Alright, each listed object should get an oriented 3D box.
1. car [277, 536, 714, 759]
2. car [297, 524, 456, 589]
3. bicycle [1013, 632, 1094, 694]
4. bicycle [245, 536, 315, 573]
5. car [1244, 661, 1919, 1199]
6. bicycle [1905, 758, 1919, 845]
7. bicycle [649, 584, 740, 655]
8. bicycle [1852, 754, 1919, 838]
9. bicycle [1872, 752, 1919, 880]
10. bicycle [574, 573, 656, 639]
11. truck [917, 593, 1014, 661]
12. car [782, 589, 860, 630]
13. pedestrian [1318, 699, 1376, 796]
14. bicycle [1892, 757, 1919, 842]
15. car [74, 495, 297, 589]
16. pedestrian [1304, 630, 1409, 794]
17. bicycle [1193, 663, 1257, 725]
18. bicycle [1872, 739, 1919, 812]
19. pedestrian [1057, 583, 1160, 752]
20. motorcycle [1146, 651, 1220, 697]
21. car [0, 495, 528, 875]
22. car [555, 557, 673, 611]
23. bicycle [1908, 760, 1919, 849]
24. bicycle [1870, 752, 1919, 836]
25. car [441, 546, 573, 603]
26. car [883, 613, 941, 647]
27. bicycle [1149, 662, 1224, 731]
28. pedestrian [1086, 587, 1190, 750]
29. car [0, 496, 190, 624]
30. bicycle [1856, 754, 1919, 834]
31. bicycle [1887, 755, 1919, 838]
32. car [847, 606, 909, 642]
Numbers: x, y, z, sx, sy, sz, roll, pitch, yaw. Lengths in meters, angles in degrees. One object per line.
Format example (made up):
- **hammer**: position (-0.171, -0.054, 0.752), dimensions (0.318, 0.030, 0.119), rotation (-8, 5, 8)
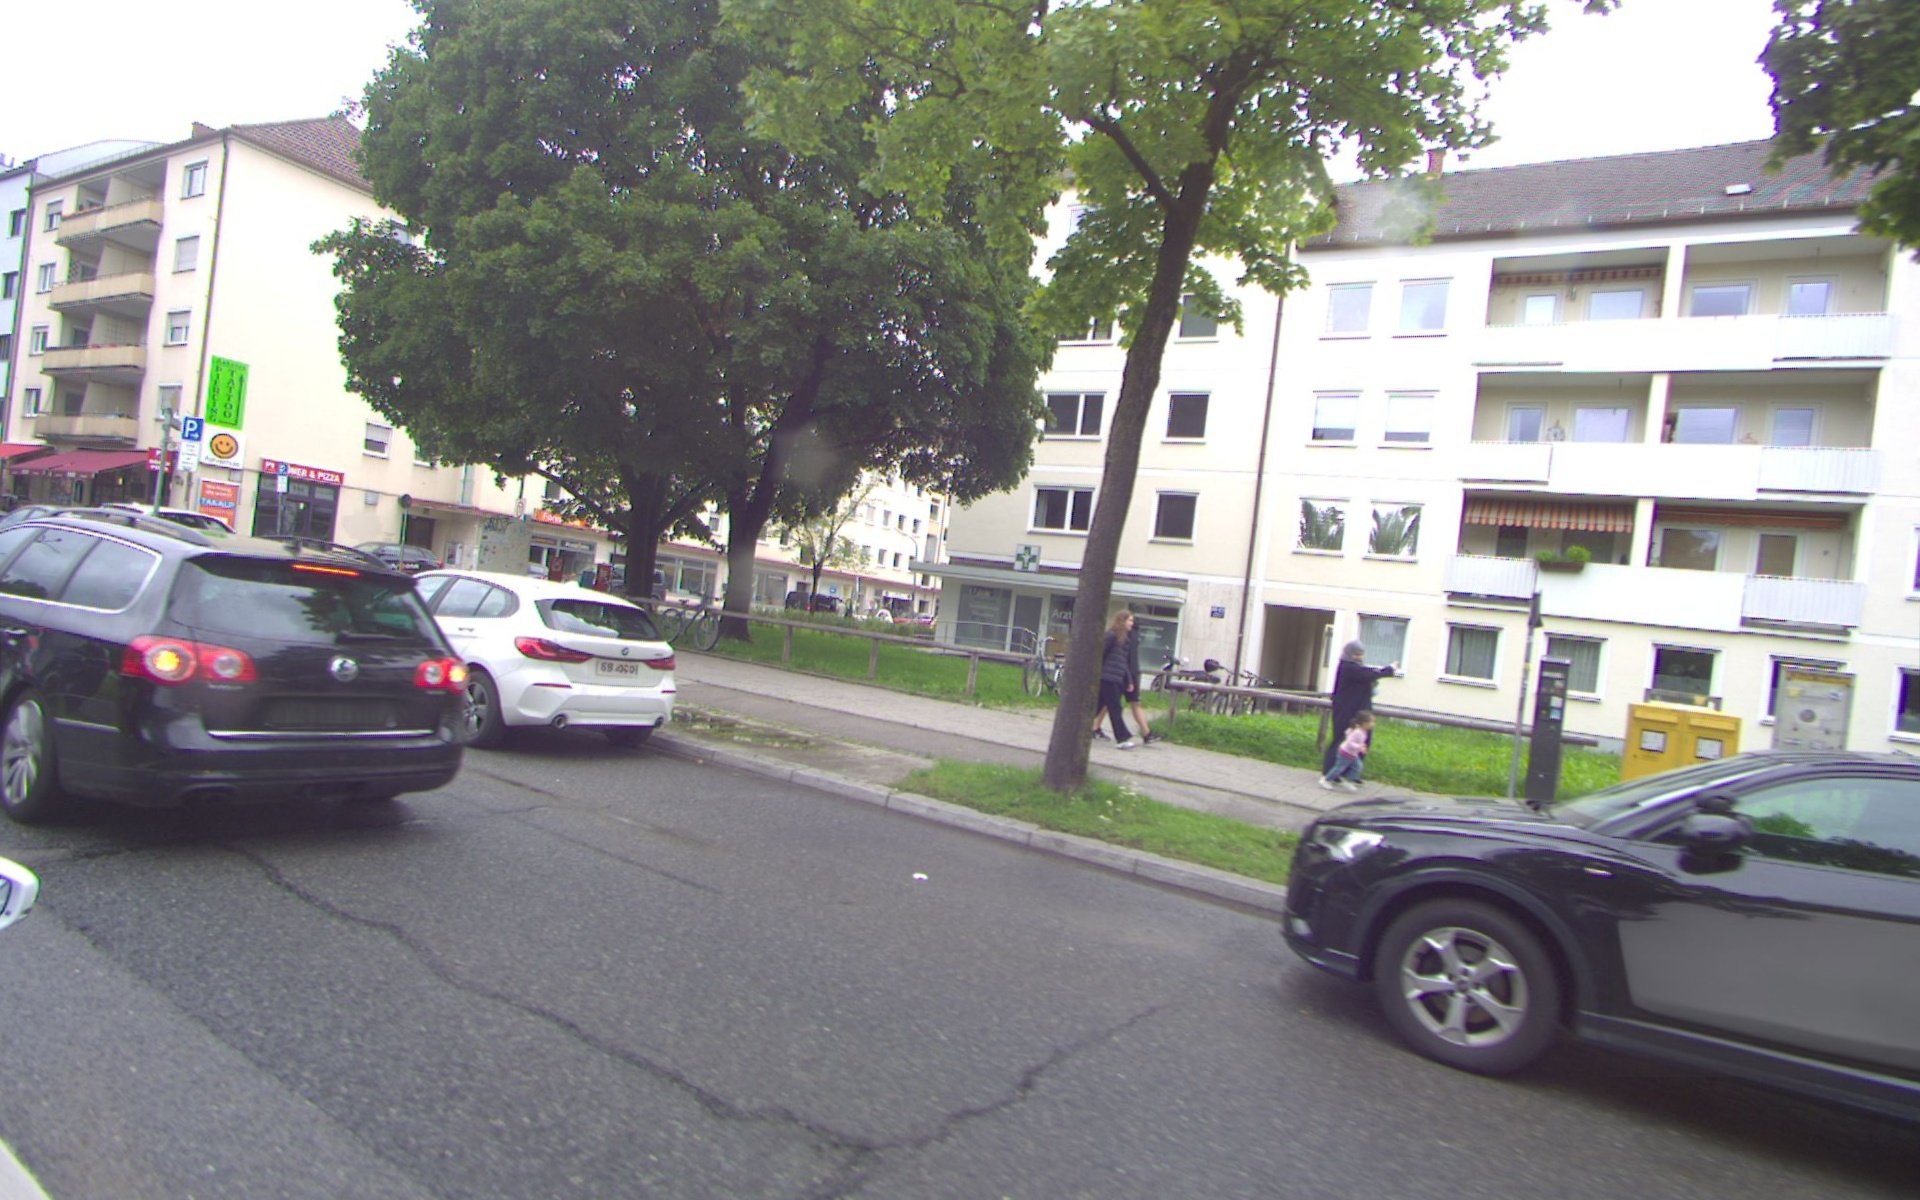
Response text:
- **car**: position (-4.546, 0.409, 9.700), dimensions (4.068, 1.481, 1.687), rotation (7, -3, 31)
- **car**: position (-20.262, -1.466, 35.118), dimensions (1.839, 1.681, 4.402), rotation (7, 0, 27)
- **bicycle**: position (1.707, 1.155, 18.086), dimensions (0.549, 0.950, 1.880), rotation (7, -2, 33)
- **bicycle**: position (-23.048, -1.533, 34.136), dimensions (0.548, 0.968, 1.851), rotation (7, -2, 31)
- **car**: position (3.609, 1.360, 4.224), dimensions (4.205, 1.550, 1.720), rotation (7, -2, 32)
- **bicycle**: position (12.737, 2.612, 12.096), dimensions (1.853, 1.041, 0.431), rotation (7, 1, 33)
- **bicycle**: position (-5.019, 0.349, 18.966), dimensions (1.853, 1.116, 0.382), rotation (7, -1, 33)
- **bicycle**: position (13.955, 2.880, 14.234), dimensions (1.853, 1.041, 0.431), rotation (7, 1, 33)
- **bicycle**: position (9.797, 2.164, 9.301), dimensions (1.853, 1.148, 0.431), rotation (8, 2, 33)
- **bicycle**: position (-6.934, 0.108, 20.160), dimensions (1.823, 1.118, 0.389), rotation (7, -1, 33)
- **truck**: position (0.469, 1.686, 59.750), dimensions (2.318, 3.282, 7.425), rotation (7, -2, 27)
- **car**: position (-7.909, 0.565, 57.611), dimensions (1.839, 1.679, 4.750), rotation (7, -2, 28)
- **pedestrian**: position (4.183, 1.581, 10.873), dimensions (0.428, 0.961, 0.408), rotation (7, 1, 31)
- **bicycle**: position (13.164, 2.690, 12.730), dimensions (1.853, 1.041, 0.431), rotation (7, 1, 33)
- **car**: position (-19.676, -1.394, 25.851), dimensions (1.836, 1.679, 4.413), rotation (8, -2, 6)
- **pedestrian**: position (4.519, 1.249, 11.452), dimensions (0.821, 1.702, 0.839), rotation (7, 1, 31)
- **bicycle**: position (4.678, 1.663, 17.671), dimensions (0.426, 0.985, 1.880), rotation (7, -2, 33)
- **bicycle**: position (15.562, 2.867, 15.679), dimensions (1.853, 1.041, 0.431), rotation (7, 1, 33)
- **pedestrian**: position (1.811, 0.813, 12.290), dimensions (0.887, 1.913, 0.588), rotation (7, 1, 31)
- **motorcycle**: position (6.337, 2.112, 28.638), dimensions (1.875, 1.035, 0.605), rotation (7, -1, 33)
- **car**: position (-4.771, 0.245, 5.922), dimensions (4.367, 1.449, 1.735), rotation (7, -2, 31)
- **car**: position (-15.155, -0.668, 44.312), dimensions (1.840, 1.795, 4.742), rotation (7, 0, 30)
- **bicycle**: position (12.423, 2.570, 11.725), dimensions (1.853, 1.041, 0.431), rotation (7, 1, 33)
- **bicycle**: position (13.639, 2.762, 13.588), dimensions (1.853, 1.041, 0.431), rotation (7, 1, 33)
- **car**: position (-17.647, -0.964, 39.400), dimensions (1.839, 1.681, 4.401), rotation (7, 0, 29)
- **car**: position (-3.155, 2.018, 66.823), dimensions (1.839, 1.679, 4.088), rotation (7, -2, 28)
- **bicycle**: position (3.606, 1.537, 15.894), dimensions (0.426, 0.985, 1.880), rotation (7, -2, 33)
- **pedestrian**: position (2.265, 0.858, 12.788), dimensions (0.904, 1.913, 0.730), rotation (7, 1, 31)
- **car**: position (-13.284, -0.647, 14.953), dimensions (3.613, 1.482, 1.621), rotation (7, -2, 32)
- **bicycle**: position (14.613, 2.993, 14.910), dimensions (1.853, 1.041, 0.431), rotation (7, 1, 33)
- **bicycle**: position (13.453, 2.726, 13.123), dimensions (1.853, 1.041, 0.431), rotation (7, 1, 33)
- **car**: position (-5.104, 1.540, 62.972), dimensions (1.839, 1.679, 4.088), rotation (7, -2, 28)
